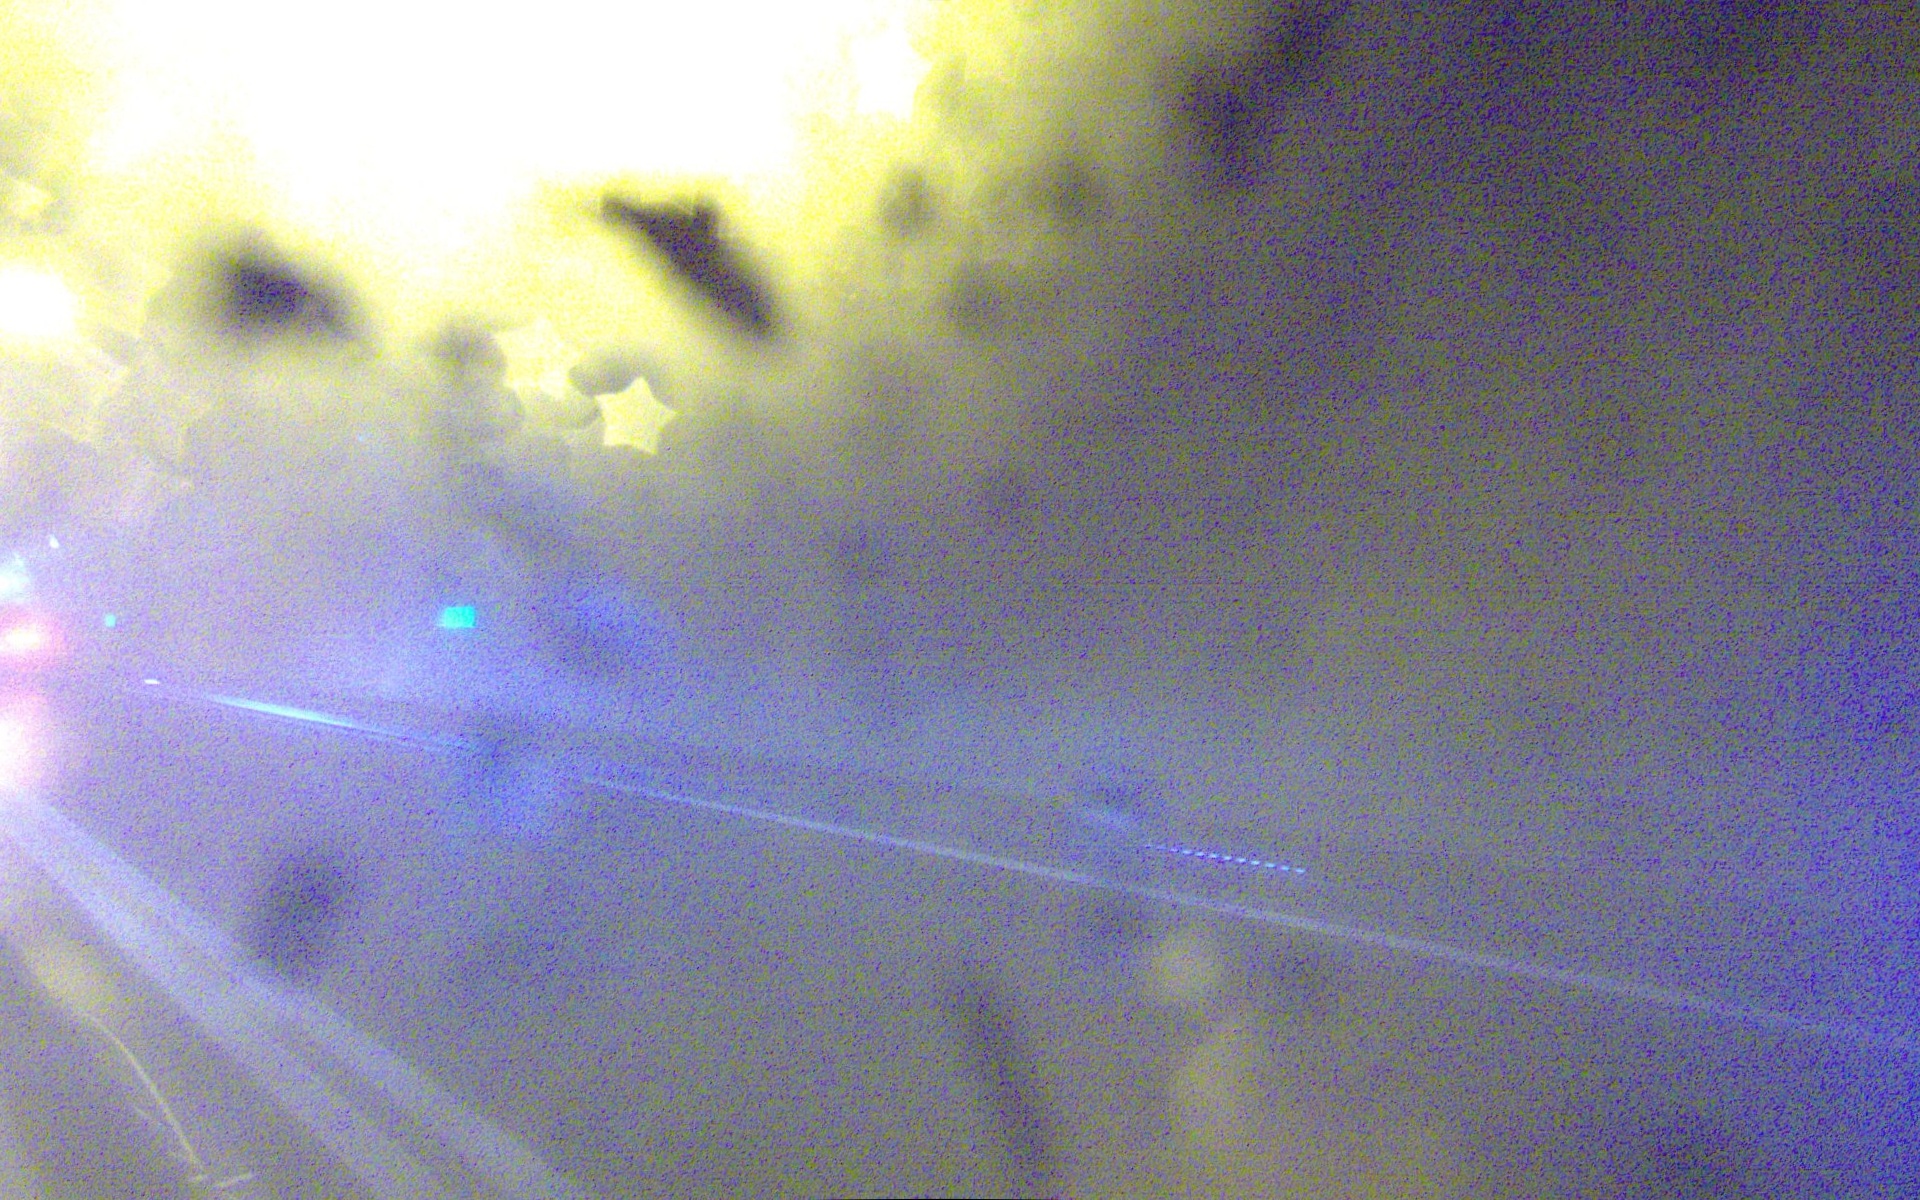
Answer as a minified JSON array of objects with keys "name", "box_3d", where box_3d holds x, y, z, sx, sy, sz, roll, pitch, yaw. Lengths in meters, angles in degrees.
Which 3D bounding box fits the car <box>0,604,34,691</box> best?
[{"name":"car","box_3d":[-23.764,1.105,24.245,5.135,1.943,1.763,-1,-1,41]}]
